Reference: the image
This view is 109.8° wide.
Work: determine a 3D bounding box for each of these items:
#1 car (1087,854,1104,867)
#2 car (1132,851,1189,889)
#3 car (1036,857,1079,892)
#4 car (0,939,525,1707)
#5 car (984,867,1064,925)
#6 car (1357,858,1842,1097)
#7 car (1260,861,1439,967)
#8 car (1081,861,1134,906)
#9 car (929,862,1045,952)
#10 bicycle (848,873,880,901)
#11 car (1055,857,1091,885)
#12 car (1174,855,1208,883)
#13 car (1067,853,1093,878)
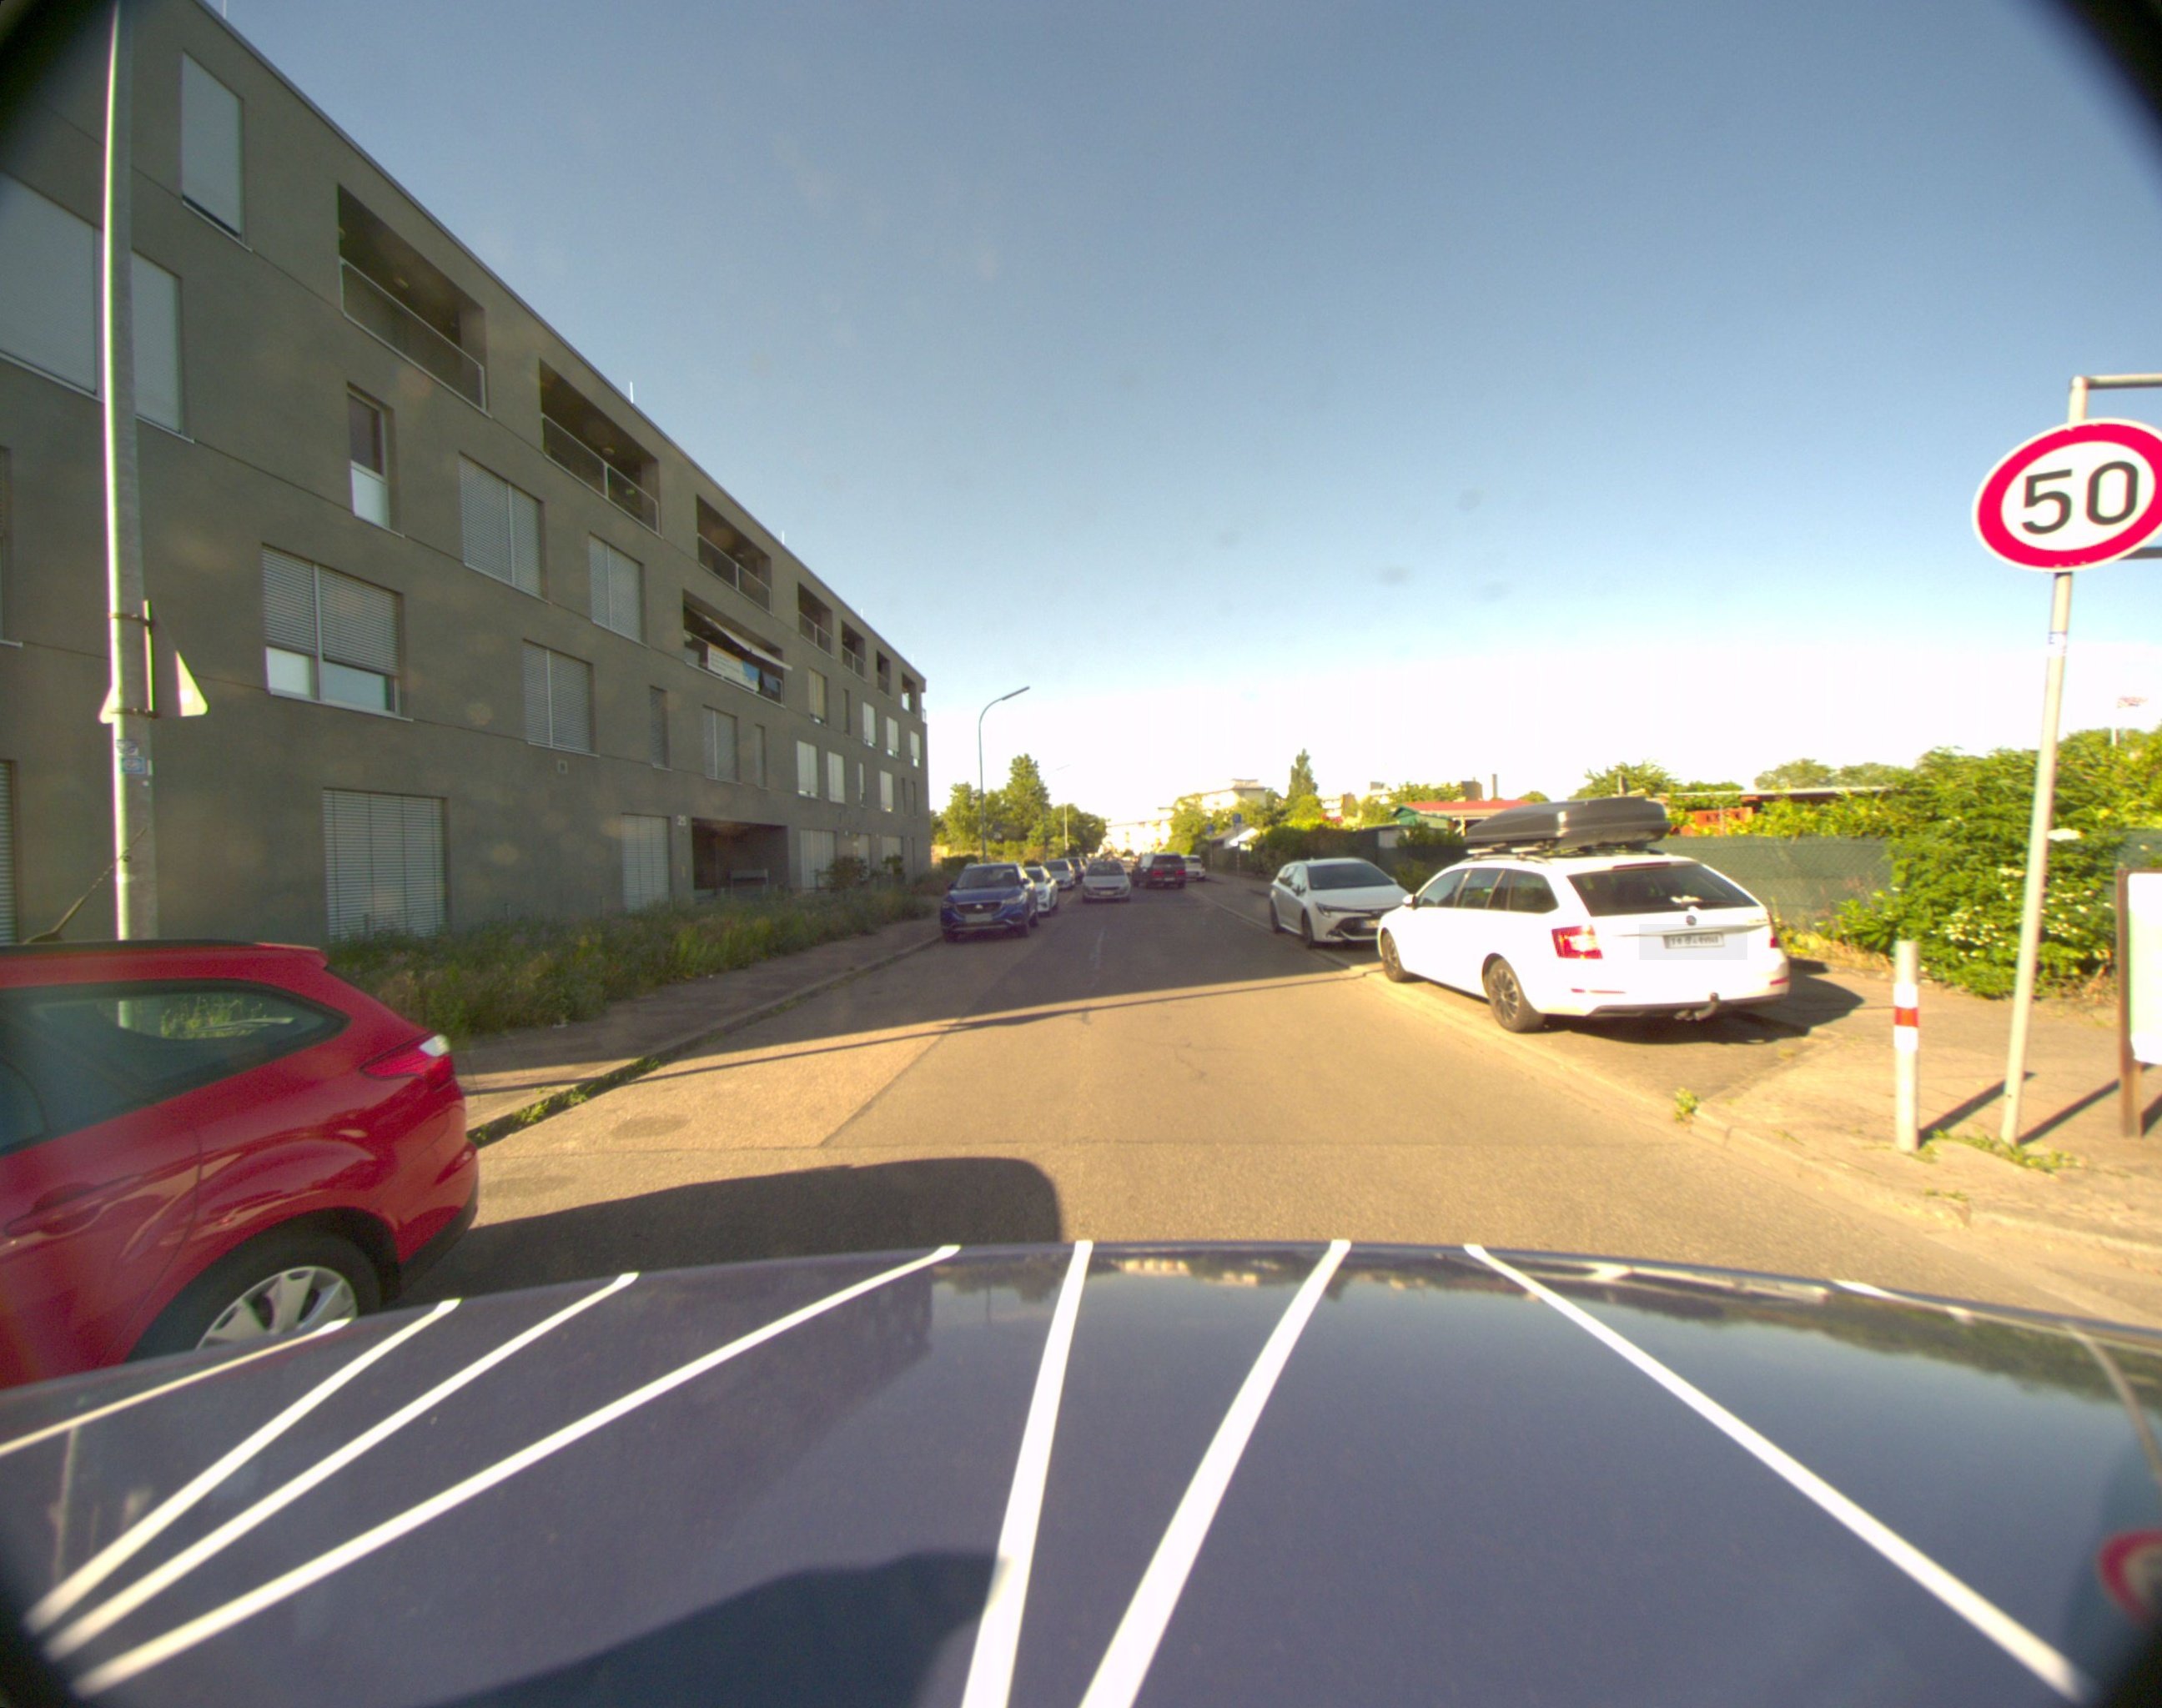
[{"bbox_3d":[1.897,0.834,98.017,1.873,1.517,4.156,-2,0,3],"label":"car"},{"bbox_3d":[3.818,0.764,37.522,1.948,1.717,4.836,-1,0,-4],"label":"car"},{"bbox_3d":[-1.123,0.988,38.288,1.710,1.517,4.156,-3,0,3],"label":"car"},{"bbox_3d":[-3.113,1.102,0.655,1.823,1.491,4.452,-2,0,2],"label":"car"},{"bbox_3d":[-1.630,1.192,23.273,1.749,1.421,4.586,-3,0,3],"label":"car"},{"bbox_3d":[4.328,0.860,7.412,1.700,1.504,4.518,-4,-1,2],"label":"car"},{"bbox_3d":[4.613,0.937,13.823,1.751,1.437,4.542,-5,0,3],"label":"car"},{"bbox_3d":[1.010,1.011,27.513,1.678,1.440,4.001,-2,0,5],"label":"car"},{"bbox_3d":[-1.973,1.072,17.286,1.821,1.590,4.628,-4,0,2],"label":"car"},{"bbox_3d":[-8.948,1.356,31.441,0.553,1.055,1.843,-2,0,7],"label":"bicycle"},{"bbox_3d":[-0.454,1.023,47.305,1.748,1.557,4.804,-3,0,4],"label":"car"},{"bbox_3d":[6.201,0.809,43.244,1.531,1.479,3.402,-2,0,2],"label":"car"},{"bbox_3d":[-0.027,0.843,57.672,1.711,1.695,4.350,-4,0,1],"label":"car"}]
